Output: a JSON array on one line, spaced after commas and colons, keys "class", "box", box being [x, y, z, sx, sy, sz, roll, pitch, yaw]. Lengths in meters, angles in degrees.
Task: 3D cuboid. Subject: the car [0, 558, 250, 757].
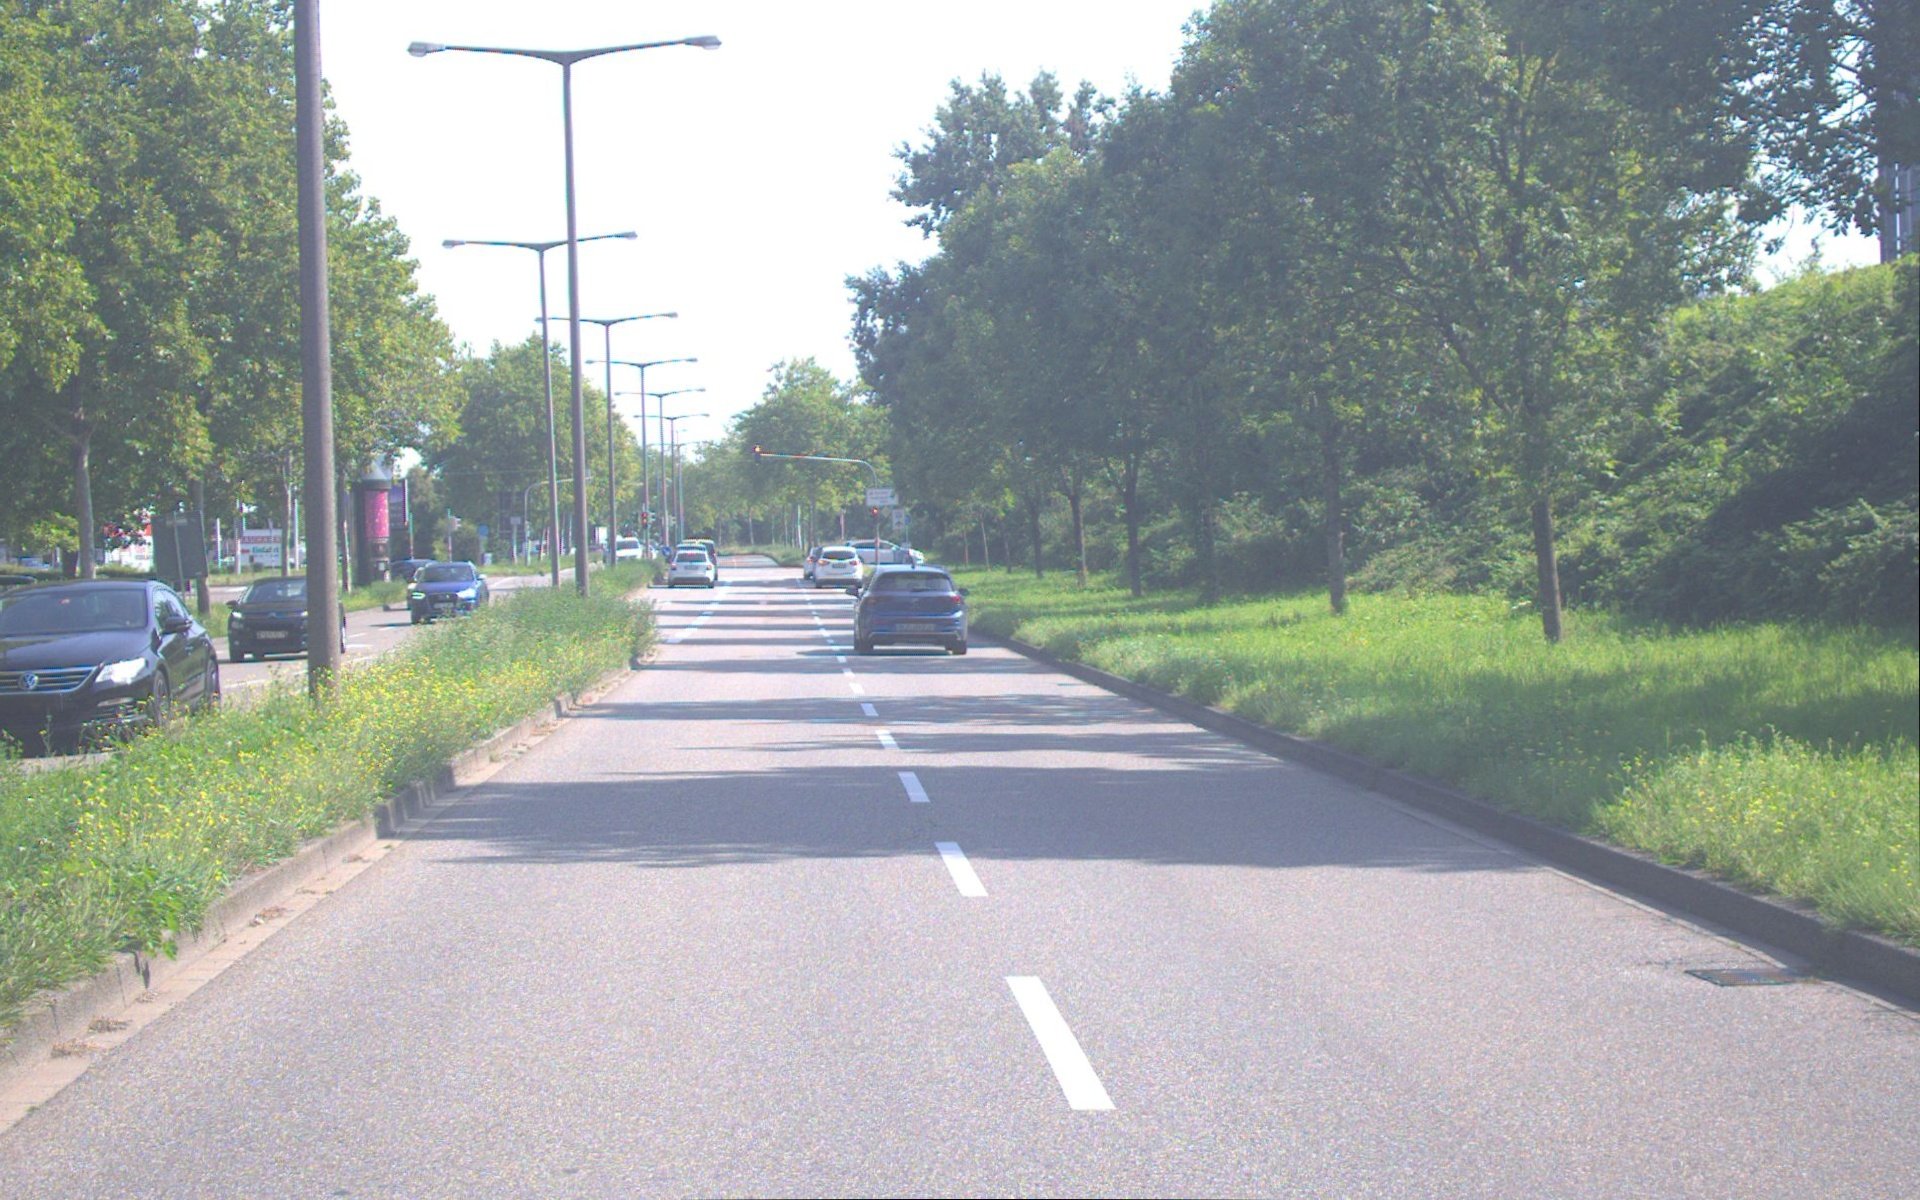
[{"class": "car", "box": [-7.353, 0.436, 29.039, 1.845, 1.484, 4.644, -3, 1, -2]}]

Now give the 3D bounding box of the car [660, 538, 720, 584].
[{"class": "car", "box": [-10.460, -1.517, 133.327, 1.993, 1.696, 4.000, -2, 1, 0]}]

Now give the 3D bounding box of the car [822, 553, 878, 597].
[{"class": "car", "box": [-4.305, -0.978, 133.887, 1.993, 1.648, 4.001, -2, 1, -3]}]

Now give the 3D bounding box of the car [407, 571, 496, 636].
[{"class": "car", "box": [-13.401, 0.079, 90.866, 1.993, 1.579, 4.347, -3, 1, -5]}]

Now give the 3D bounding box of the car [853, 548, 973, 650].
[{"class": "car", "box": [-0.798, -0.050, 56.136, 1.780, 1.423, 4.001, 0, 3, -3]}]

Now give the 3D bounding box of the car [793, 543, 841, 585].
[{"class": "car", "box": [-6.460, -1.630, 155.297, 1.993, 1.648, 4.002, 0, 4, -5]}]

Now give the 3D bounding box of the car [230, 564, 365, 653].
[{"class": "car", "box": [-11.745, 0.120, 61.194, 1.705, 1.484, 4.313, -1, 1, -2]}]
